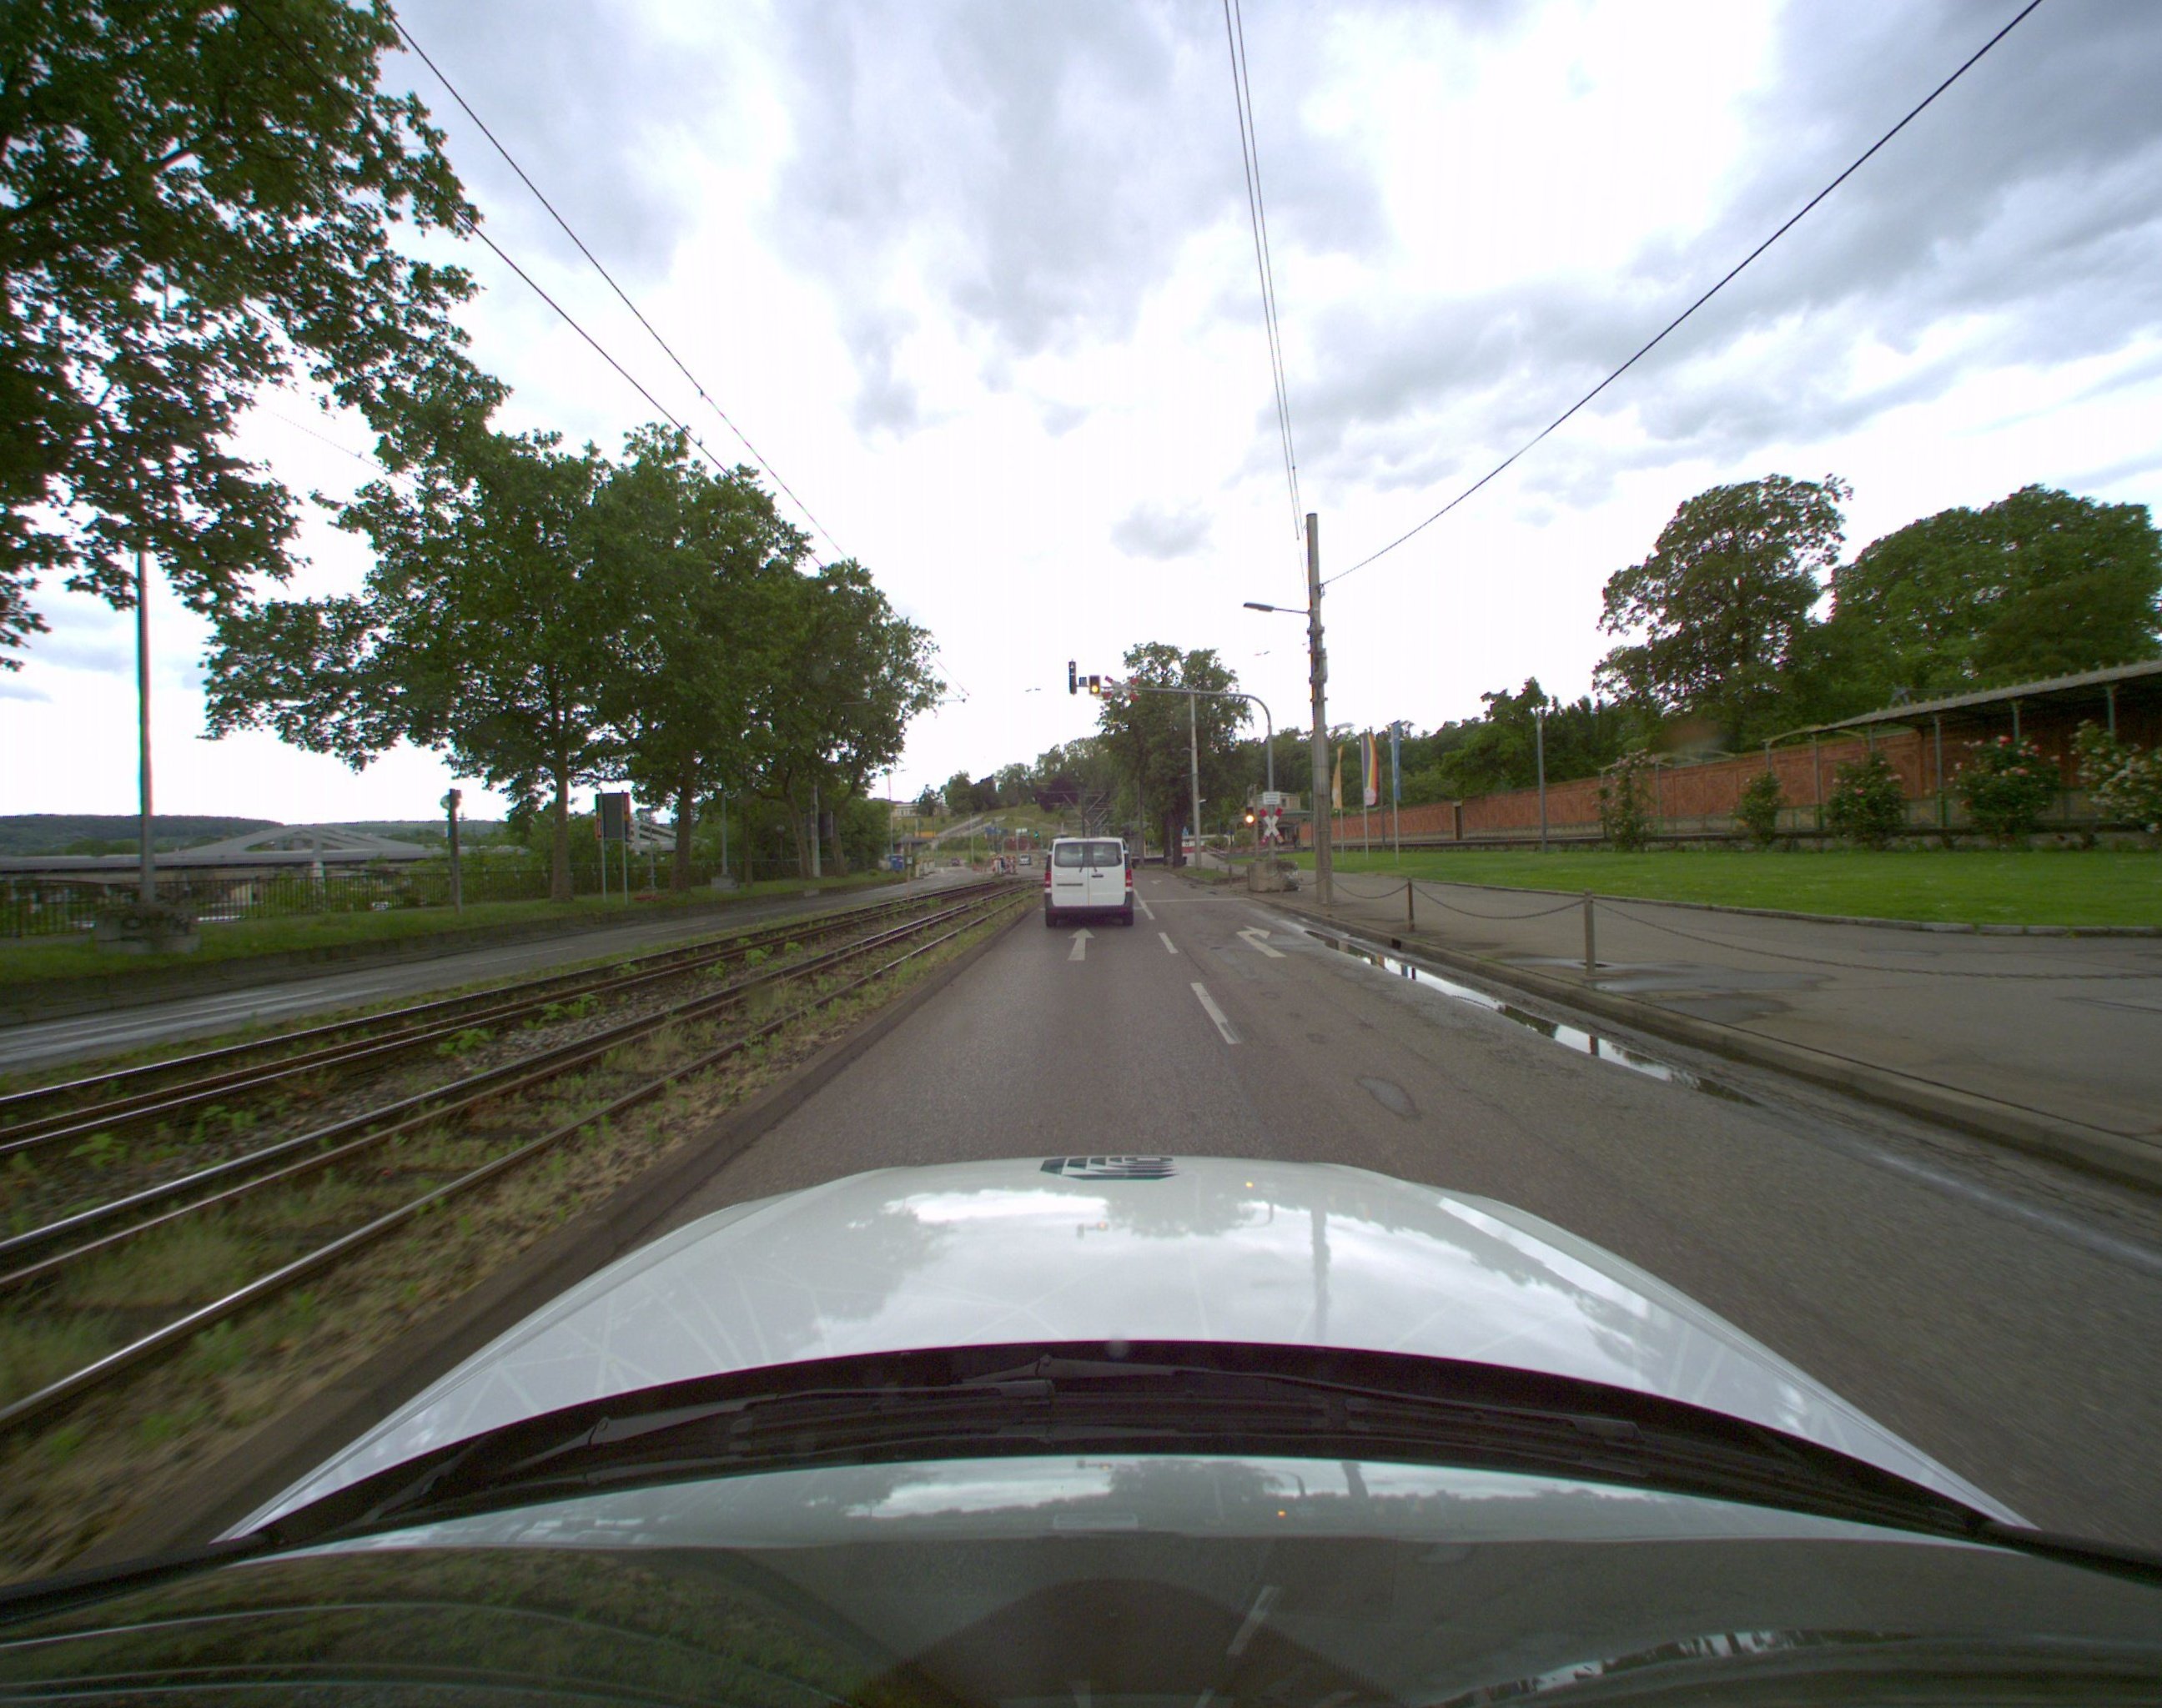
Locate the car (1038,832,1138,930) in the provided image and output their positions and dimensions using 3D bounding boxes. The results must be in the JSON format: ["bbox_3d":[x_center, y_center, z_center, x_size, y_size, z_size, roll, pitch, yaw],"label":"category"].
[{"bbox_3d":[0.201,0.546,18.393,1.952,1.904,4.462,-1,-1,1],"label":"car"}]

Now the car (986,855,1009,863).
[{"bbox_3d":[-18.982,1.199,184.725,4.677,1.477,2.007,-4,1,12],"label":"car"}]

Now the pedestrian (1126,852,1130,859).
[{"bbox_3d":[7.319,0.256,127.292,0.654,1.191,0.676,-1,-1,4],"label":"pedestrian"}]

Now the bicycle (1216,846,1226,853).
[{"bbox_3d":[21.686,-0.712,126.014,0.565,1.061,1.700,0,-1,-28],"label":"bicycle"}]

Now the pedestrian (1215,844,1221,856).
[{"bbox_3d":[14.675,-0.442,87.268,0.547,1.201,0.668,0,-1,-4],"label":"pedestrian"}]

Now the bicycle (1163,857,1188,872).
[{"bbox_3d":[7.920,0.856,68.052,1.981,1.158,0.742,-3,-1,6],"label":"bicycle"}]

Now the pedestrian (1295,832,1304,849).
[{"bbox_3d":[24.251,-1.484,90.473,0.943,1.838,0.551,-1,-1,10],"label":"pedestrian"}]

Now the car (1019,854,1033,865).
[{"bbox_3d":[-9.036,0.956,134.157,1.745,1.772,4.003,-1,-1,3],"label":"car"}]

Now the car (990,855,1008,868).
[{"bbox_3d":[-9.591,0.895,95.399,1.838,1.467,4.048,-1,-1,-10],"label":"car"}]
